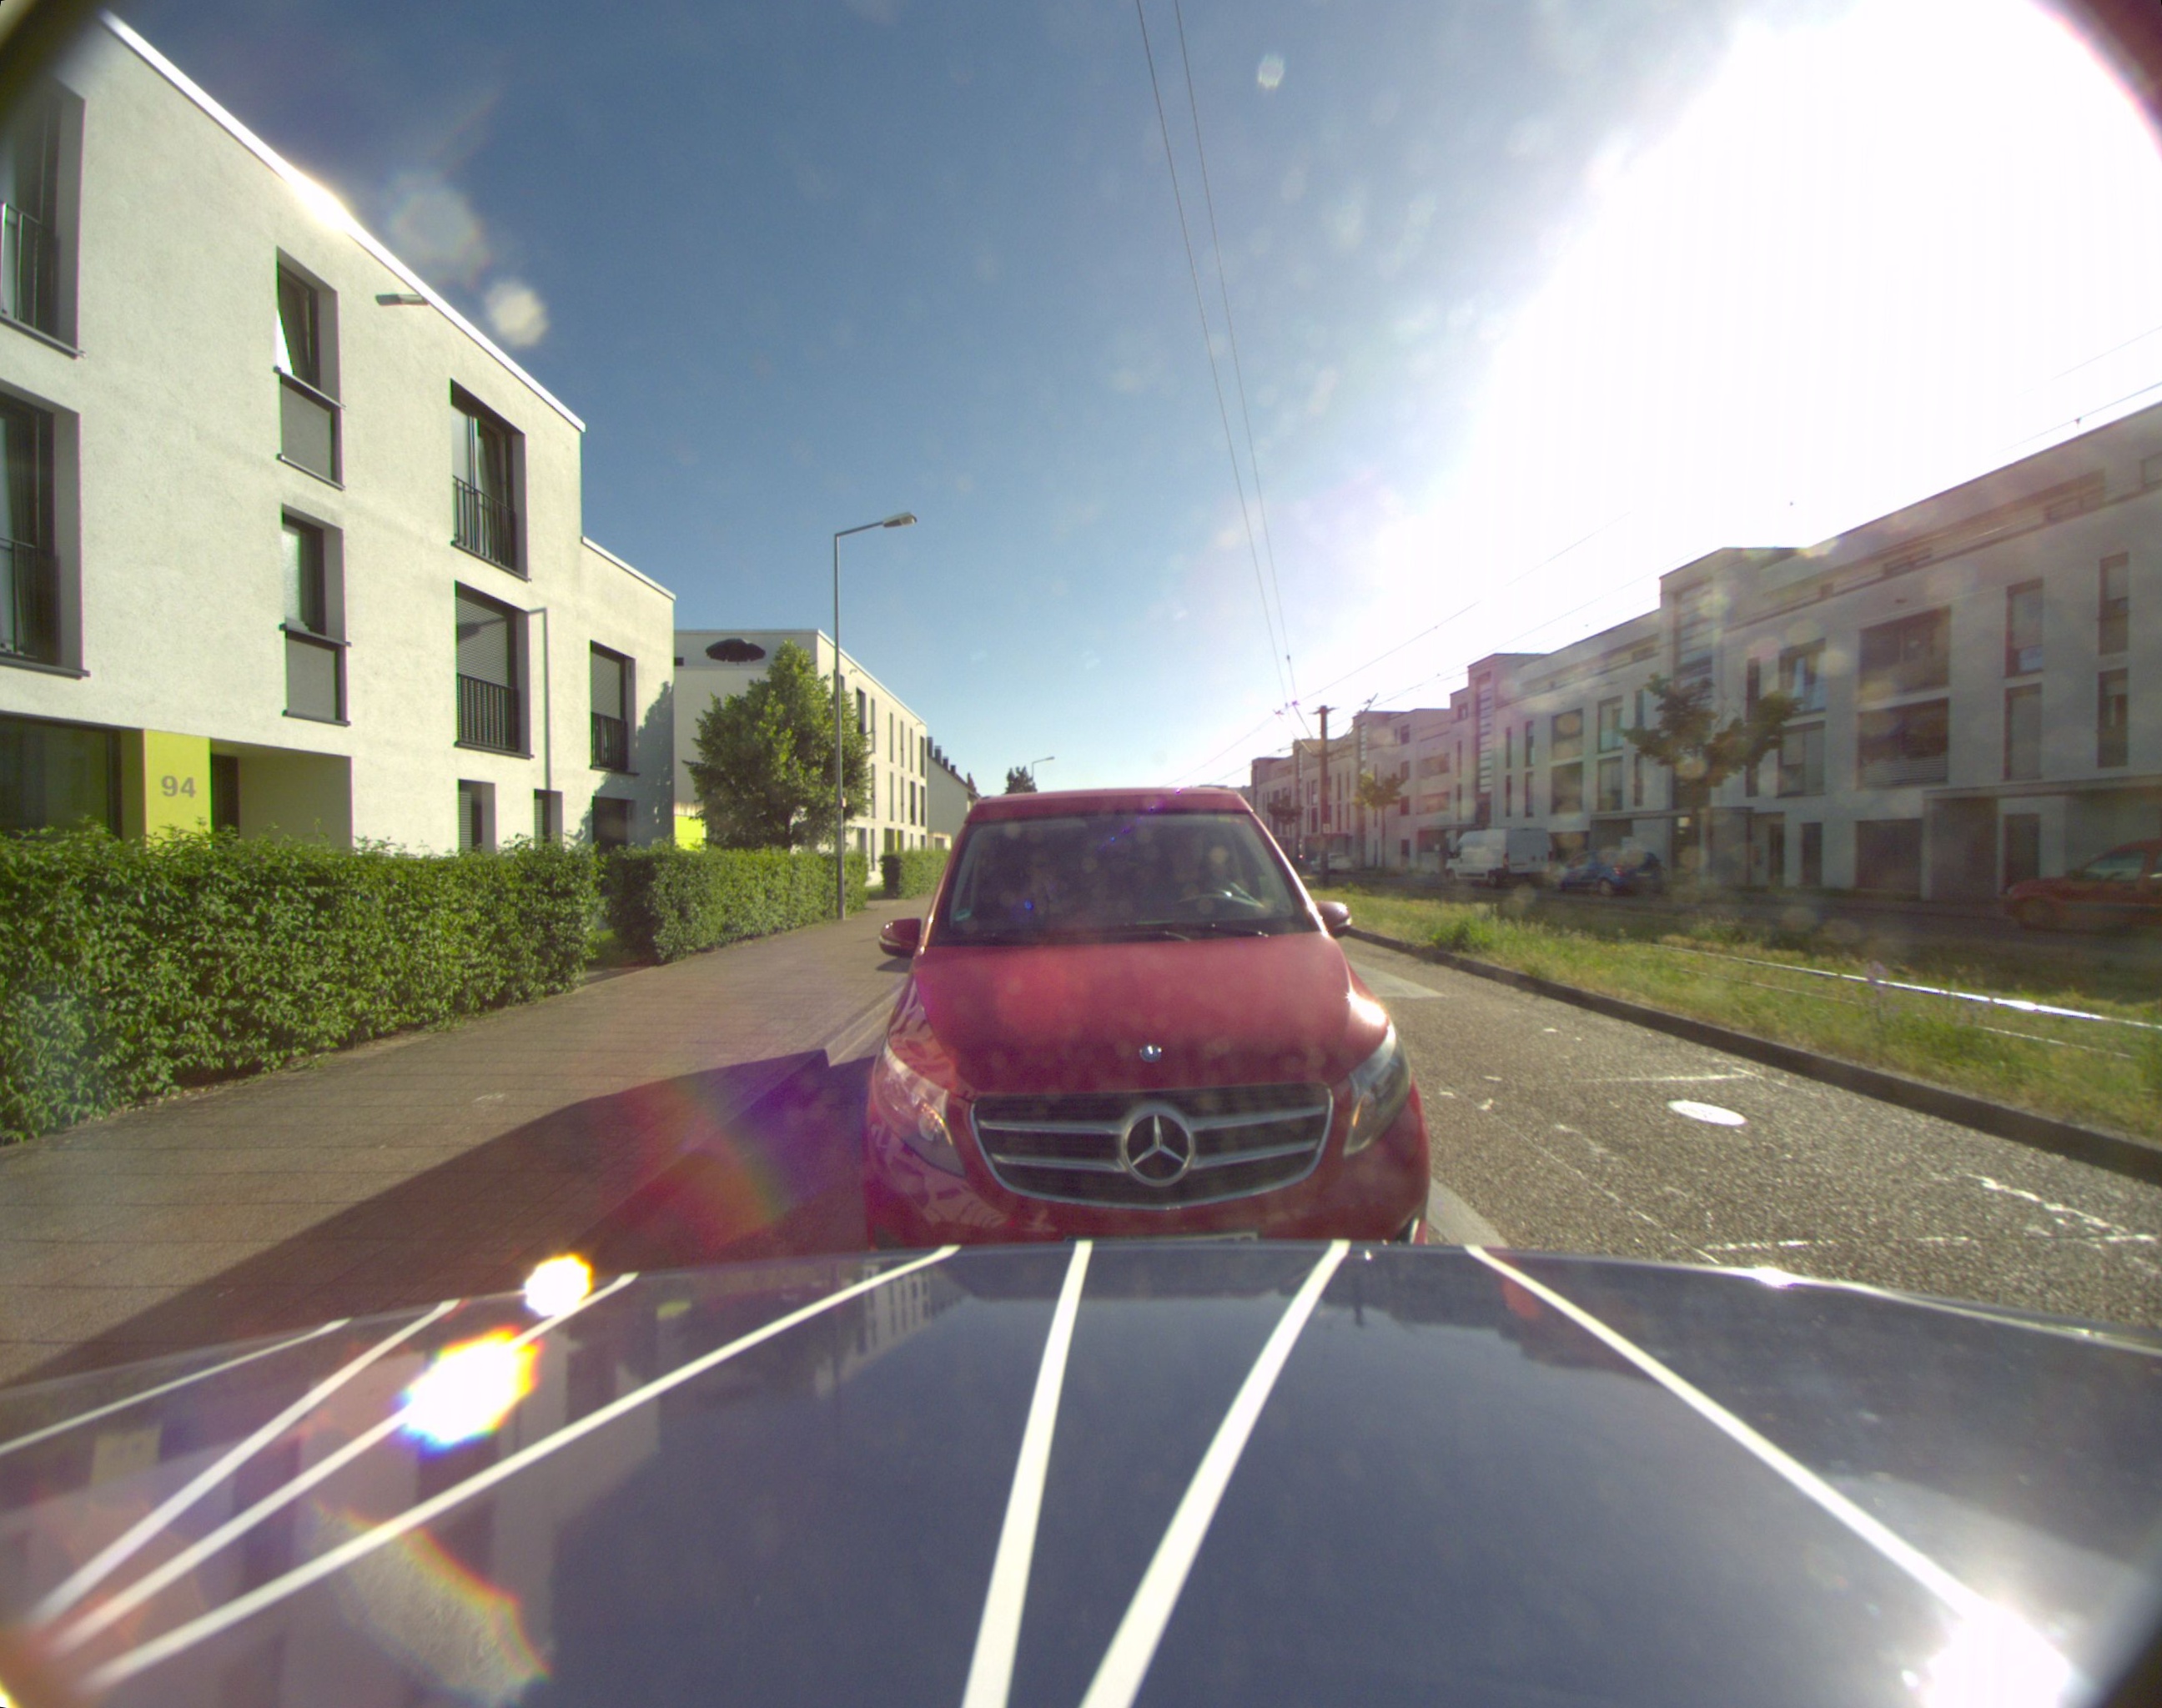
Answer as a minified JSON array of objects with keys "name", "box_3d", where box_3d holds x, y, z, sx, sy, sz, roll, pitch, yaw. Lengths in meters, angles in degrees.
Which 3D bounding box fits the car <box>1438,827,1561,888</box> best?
[{"name":"car","box_3d":[18.174,0.130,33.401,2.146,2.430,5.588,-2,0,-1]}]

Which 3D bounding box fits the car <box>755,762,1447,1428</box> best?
[{"name":"car","box_3d":[0.118,0.719,4.860,1.979,1.922,5.205,-2,0,1]}]

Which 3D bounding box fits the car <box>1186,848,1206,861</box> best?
[{"name":"car","box_3d":[15.032,0.075,99.594,1.766,1.590,4.155,-2,0,-4]}]

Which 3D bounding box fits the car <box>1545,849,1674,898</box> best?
[{"name":"car","box_3d":[18.247,0.612,26.473,1.829,1.528,3.842,-2,0,0]}]

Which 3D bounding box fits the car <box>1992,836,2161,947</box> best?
[{"name":"car","box_3d":[18.598,0.603,12.817,1.885,1.785,3.837,-2,0,1]}]

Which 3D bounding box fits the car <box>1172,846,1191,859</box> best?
[{"name":"car","box_3d":[11.870,-0.155,89.729,1.792,1.410,4.000,1,0,1]}]

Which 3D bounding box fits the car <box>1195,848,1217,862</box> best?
[{"name":"car","box_3d":[15.421,0.093,93.959,1.766,1.590,4.155,-2,0,-4]}]

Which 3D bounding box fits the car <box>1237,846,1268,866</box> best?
[{"name":"car","box_3d":[16.723,0.146,74.271,1.766,1.859,4.155,-2,0,-4]}]

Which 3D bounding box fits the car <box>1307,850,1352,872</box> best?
[{"name":"car","box_3d":[17.543,0.483,53.774,1.521,1.424,4.155,-2,0,-4]}]

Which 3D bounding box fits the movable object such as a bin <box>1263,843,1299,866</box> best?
[{"name":"movable object such as a bin","box_3d":[17.607,0.013,67.089,1.766,1.926,4.155,-2,0,-4]}]
